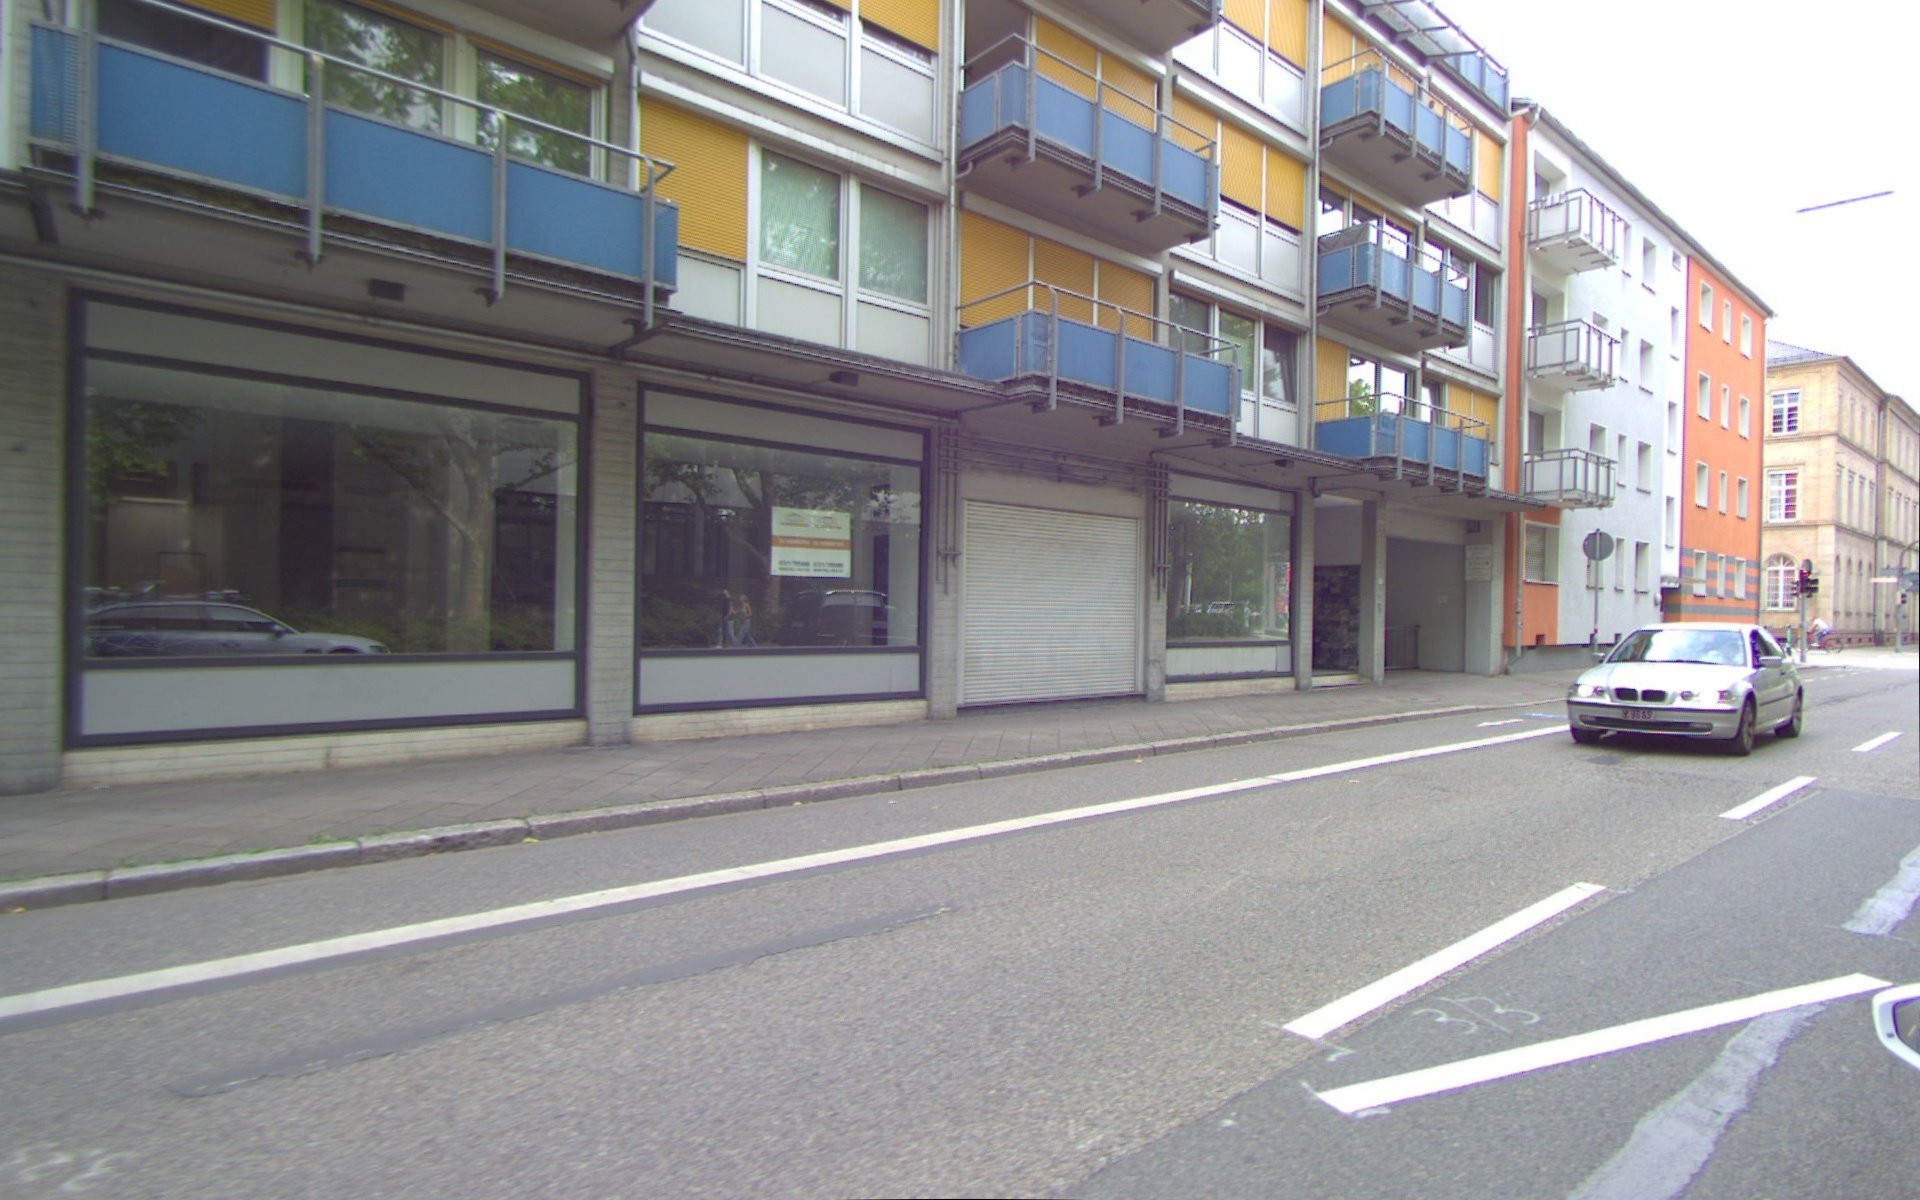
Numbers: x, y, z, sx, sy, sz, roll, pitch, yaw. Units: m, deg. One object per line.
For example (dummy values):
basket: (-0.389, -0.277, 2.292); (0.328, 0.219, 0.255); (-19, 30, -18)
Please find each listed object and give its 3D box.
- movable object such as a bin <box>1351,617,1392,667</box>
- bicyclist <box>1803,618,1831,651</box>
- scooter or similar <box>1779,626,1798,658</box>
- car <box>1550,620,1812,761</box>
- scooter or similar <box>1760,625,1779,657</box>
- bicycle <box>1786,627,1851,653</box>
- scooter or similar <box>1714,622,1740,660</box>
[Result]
movable object such as a bin: (9.681, 0.988, 23.622); (0.704, 1.141, 0.636); (1, 0, -39)
bicyclist: (39.085, 1.566, 45.797); (0.622, 1.513, 0.906); (1, 0, -43)
scooter or similar: (30.472, 1.551, 36.942); (1.134, 1.159, 0.374); (3, -1, -43)
car: (8.965, 0.980, 12.365); (4.067, 1.446, 1.742); (1, -2, -41)
scooter or similar: (29.826, 1.524, 37.023); (1.134, 1.162, 0.374); (3, -1, -43)
bicycle: (39.105, 1.809, 45.775); (0.623, 1.109, 2.212); (1, 0, -44)
scooter or similar: (25.182, 1.355, 32.963); (1.378, 1.199, 0.375); (3, -1, -40)
